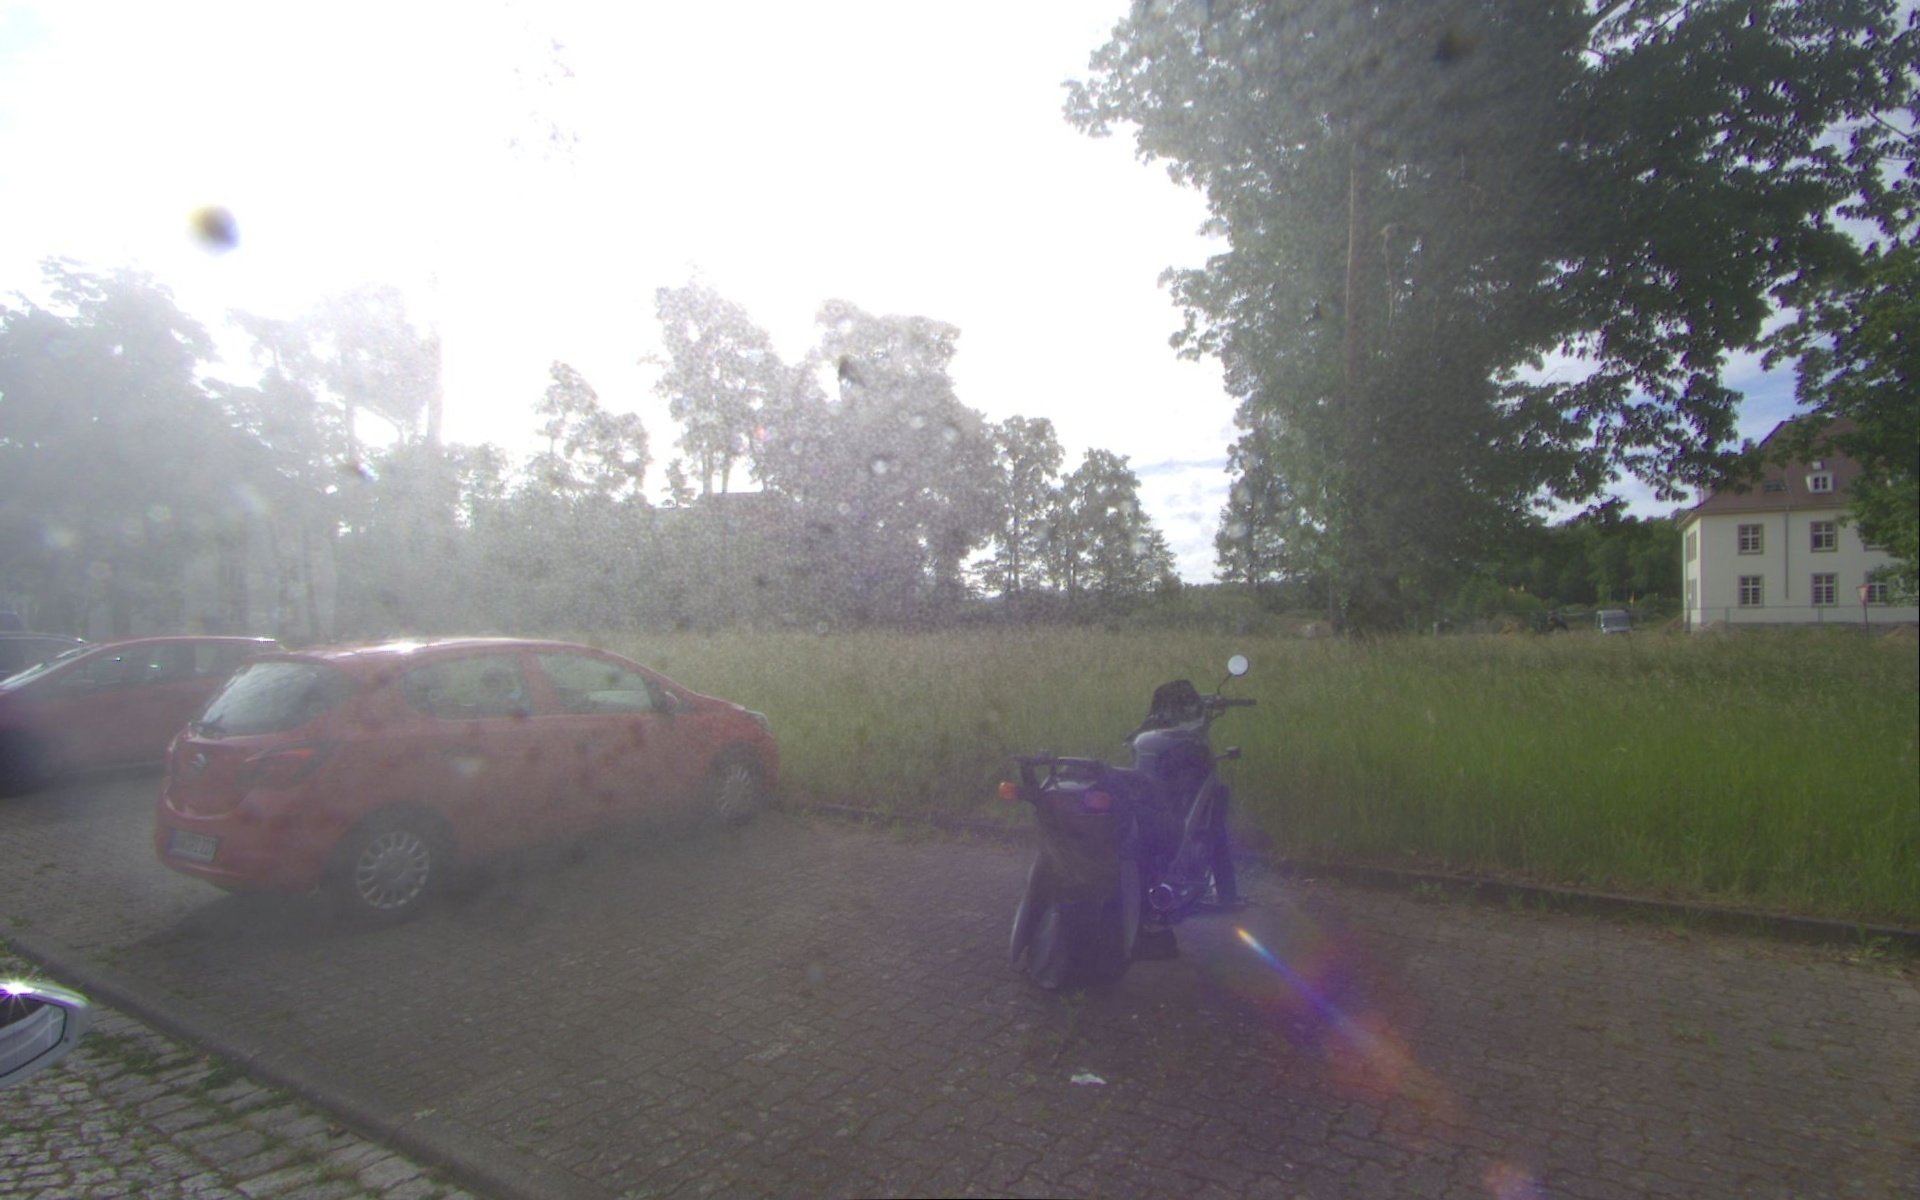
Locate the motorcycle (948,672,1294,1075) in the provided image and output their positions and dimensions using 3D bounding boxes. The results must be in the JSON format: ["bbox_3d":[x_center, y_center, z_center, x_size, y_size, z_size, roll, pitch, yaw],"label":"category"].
[{"bbox_3d":[0.875,1.003,4.561,0.783,1.201,2.324,-1,0,30],"label":"motorcycle"}]

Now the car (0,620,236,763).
[{"bbox_3d":[-11.512,1.090,12.180,1.725,1.573,4.022,-1,0,30],"label":"car"}]

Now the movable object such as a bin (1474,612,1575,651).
[{"bbox_3d":[40.500,2.282,72.006,2.149,2.688,5.936,1,-2,-36],"label":"movable object such as a bin"}]

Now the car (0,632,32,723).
[{"bbox_3d":[-16.946,1.283,15.348,1.591,1.468,3.666,-1,0,30],"label":"car"}]

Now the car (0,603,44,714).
[{"bbox_3d":[-18.960,1.085,16.948,1.903,1.980,4.746,-1,0,31],"label":"car"}]

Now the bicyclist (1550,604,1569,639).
[{"bbox_3d":[29.521,1.065,49.299,0.761,1.717,0.724,-1,-1,30],"label":"bicyclist"}]

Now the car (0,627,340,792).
[{"bbox_3d":[-9.220,1.100,10.931,1.726,1.479,3.783,-1,0,32],"label":"car"}]

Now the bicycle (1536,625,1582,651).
[{"bbox_3d":[29.462,1.855,49.281,1.904,1.244,0.722,-1,-2,32],"label":"bicycle"}]

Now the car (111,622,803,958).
[{"bbox_3d":[-2.996,0.941,6.760,1.754,1.479,3.818,-1,0,32],"label":"car"}]
